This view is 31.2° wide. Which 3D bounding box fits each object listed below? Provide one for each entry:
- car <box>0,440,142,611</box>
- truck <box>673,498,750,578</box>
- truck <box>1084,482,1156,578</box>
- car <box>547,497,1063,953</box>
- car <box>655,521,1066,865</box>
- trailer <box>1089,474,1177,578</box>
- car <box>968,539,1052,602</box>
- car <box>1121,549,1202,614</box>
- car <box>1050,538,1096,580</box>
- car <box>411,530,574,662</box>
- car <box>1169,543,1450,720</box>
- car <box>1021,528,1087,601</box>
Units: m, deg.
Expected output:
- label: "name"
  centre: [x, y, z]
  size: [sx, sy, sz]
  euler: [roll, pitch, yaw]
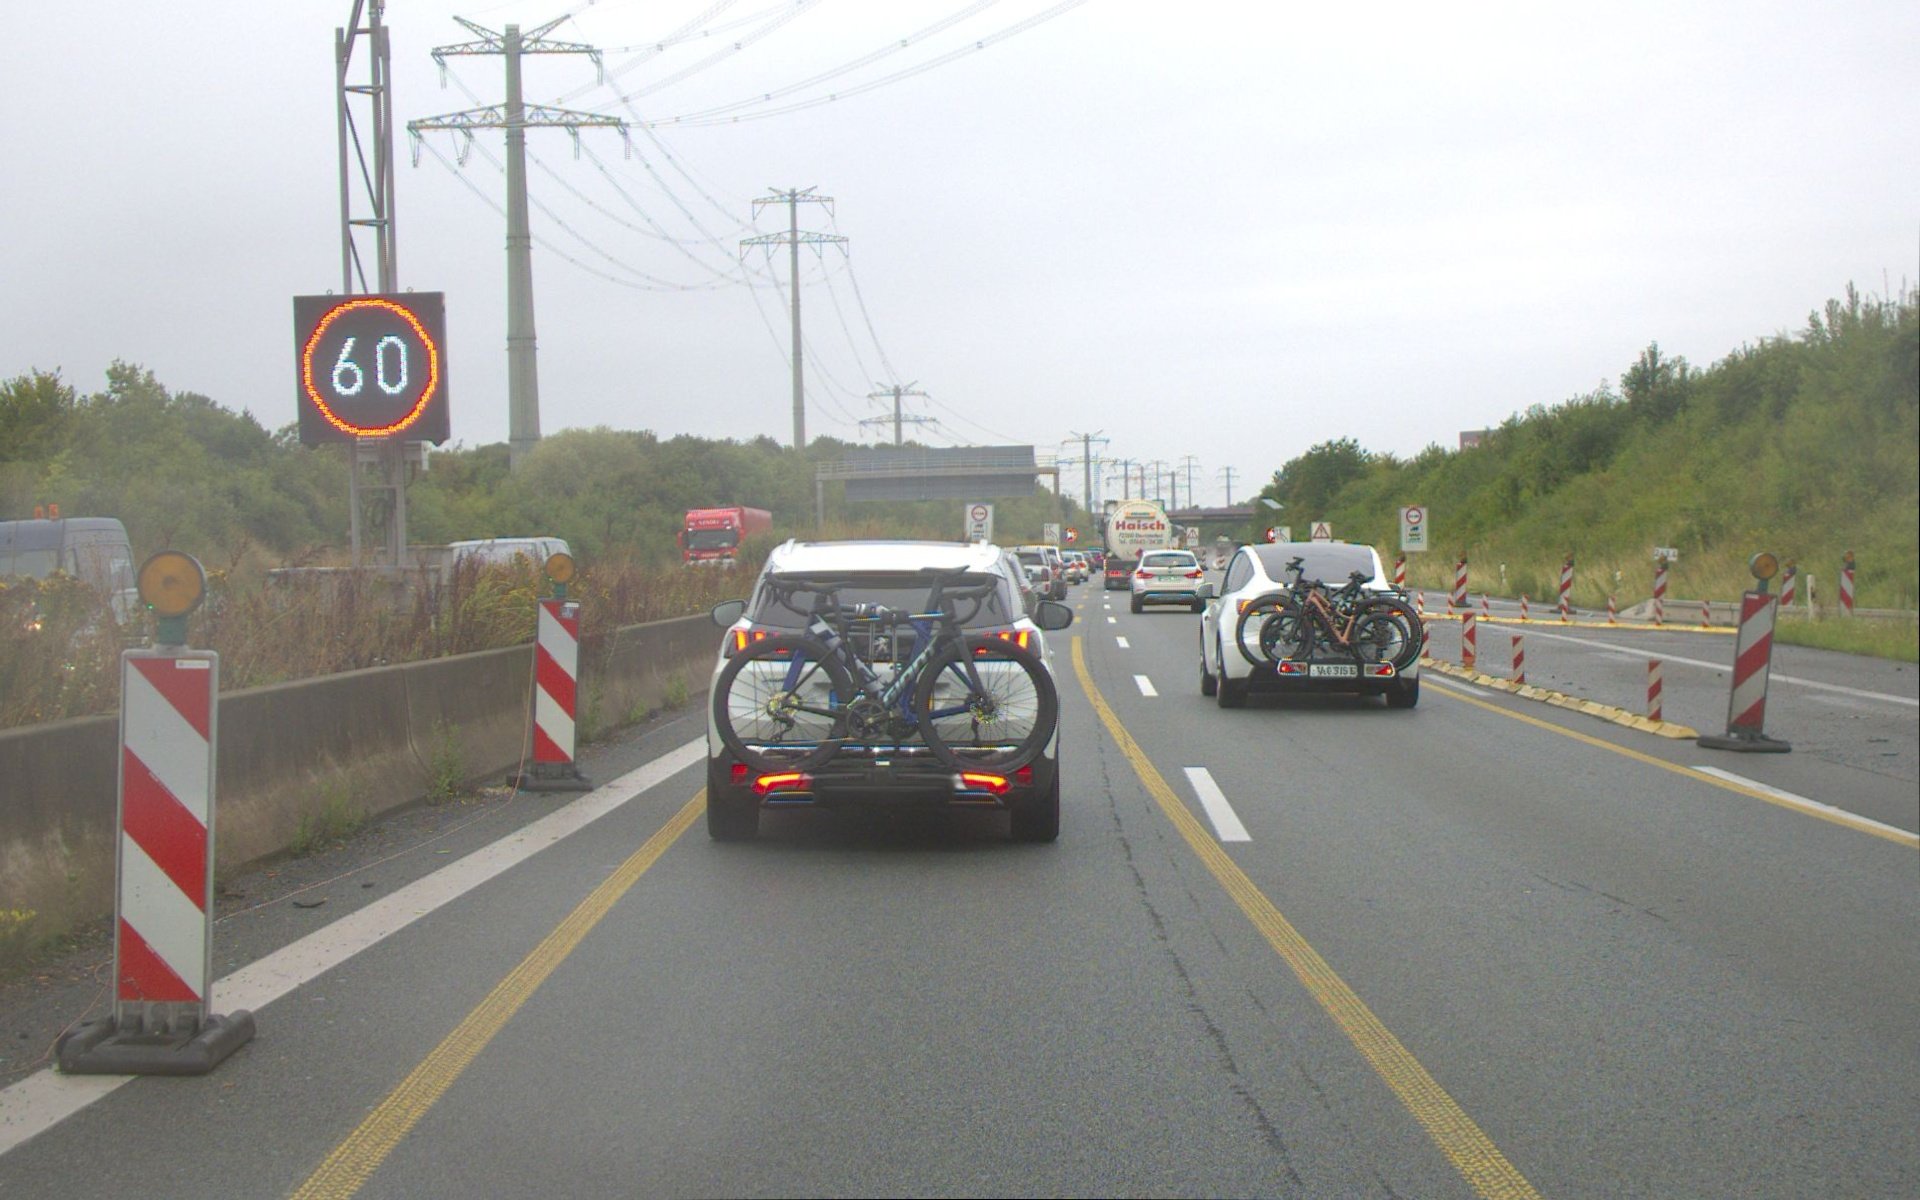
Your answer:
- label: "car"
  centre: [-14.902, -1.150, 55.303]
  size: [2.050, 2.600, 5.847]
  euler: [1, 0, 0]
- label: "truck"
  centre: [-11.320, -2.797, 156.866]
  size: [3.024, 3.519, 4.926]
  euler: [1, 0, 1]
- label: "truck"
  centre: [6.560, -2.845, 141.426]
  size: [2.644, 3.877, 4.030]
  euler: [1, 0, -1]
- label: "car"
  centre: [-0.599, 0.458, 15.589]
  size: [1.993, 1.754, 4.000]
  euler: [-1, 1, 0]
- label: "car"
  centre: [-0.426, 0.403, 18.435]
  size: [1.928, 1.605, 4.595]
  euler: [0, 1, 1]
- label: "trailer"
  centre: [6.726, -2.830, 134.905]
  size: [2.637, 3.880, 10.544]
  euler: [1, 0, -1]
- label: "car"
  centre: [1.252, -0.773, 87.697]
  size: [1.993, 1.578, 4.000]
  euler: [0, 1, -1]
- label: "car"
  centre: [4.878, -0.475, 83.675]
  size: [1.870, 1.529, 4.196]
  euler: [0, 1, 2]
- label: "car"
  centre: [5.489, -1.972, 166.946]
  size: [1.993, 2.007, 4.000]
  euler: [1, 0, -1]
- label: "car"
  centre: [-7.767, -0.088, 57.594]
  size: [1.768, 2.007, 5.254]
  euler: [3, 1, 2]
- label: "car"
  centre: [3.354, 0.251, 34.140]
  size: [2.045, 1.590, 5.802]
  euler: [1, 1, -1]
- label: "car"
  centre: [3.129, -1.199, 115.090]
  size: [1.993, 2.006, 4.002]
  euler: [1, 7, -1]
